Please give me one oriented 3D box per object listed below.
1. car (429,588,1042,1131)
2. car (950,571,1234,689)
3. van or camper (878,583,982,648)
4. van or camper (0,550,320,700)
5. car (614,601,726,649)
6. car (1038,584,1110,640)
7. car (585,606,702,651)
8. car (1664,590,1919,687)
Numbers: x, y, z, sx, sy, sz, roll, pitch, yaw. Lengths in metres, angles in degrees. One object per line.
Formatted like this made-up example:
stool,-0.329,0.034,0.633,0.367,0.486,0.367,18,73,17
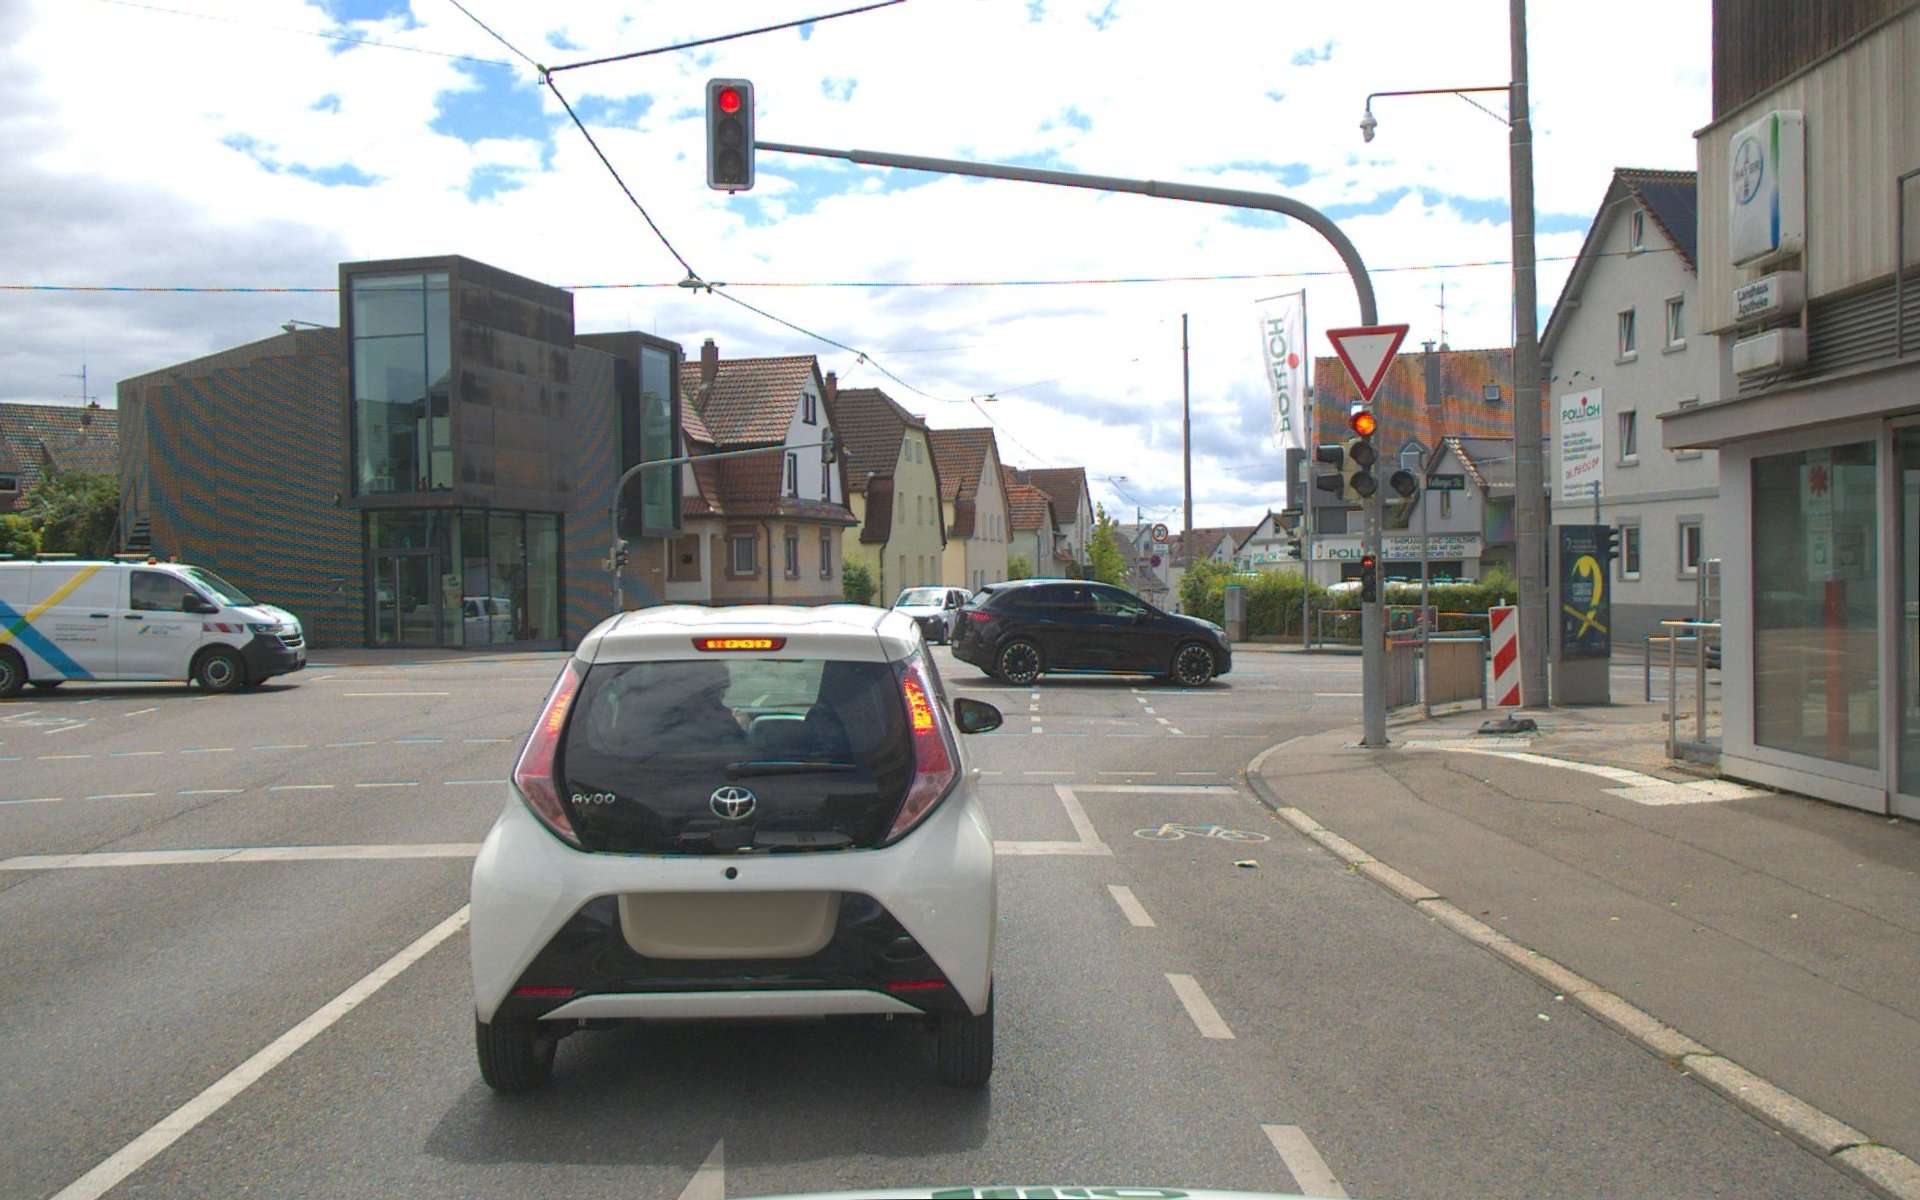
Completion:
car,-0.684,0.718,6.217,1.663,1.482,3.297,1,0,-3
car,2.169,0.456,27.834,4.417,1.773,1.996,-1,2,-10
van or camper,-0.903,0.484,53.726,2.070,1.959,5.289,1,0,14
van or camper,-12.644,0.358,25.243,5.024,2.113,1.995,-1,0,-10
car,-10.272,0.877,58.702,3.537,1.633,1.693,1,0,11
car,4.046,0.414,58.203,1.951,1.881,4.076,1,0,12
car,-10.812,0.965,56.570,3.537,1.444,1.693,1,0,11
car,15.661,0.686,30.967,4.216,1.705,1.994,-1,0,-12
